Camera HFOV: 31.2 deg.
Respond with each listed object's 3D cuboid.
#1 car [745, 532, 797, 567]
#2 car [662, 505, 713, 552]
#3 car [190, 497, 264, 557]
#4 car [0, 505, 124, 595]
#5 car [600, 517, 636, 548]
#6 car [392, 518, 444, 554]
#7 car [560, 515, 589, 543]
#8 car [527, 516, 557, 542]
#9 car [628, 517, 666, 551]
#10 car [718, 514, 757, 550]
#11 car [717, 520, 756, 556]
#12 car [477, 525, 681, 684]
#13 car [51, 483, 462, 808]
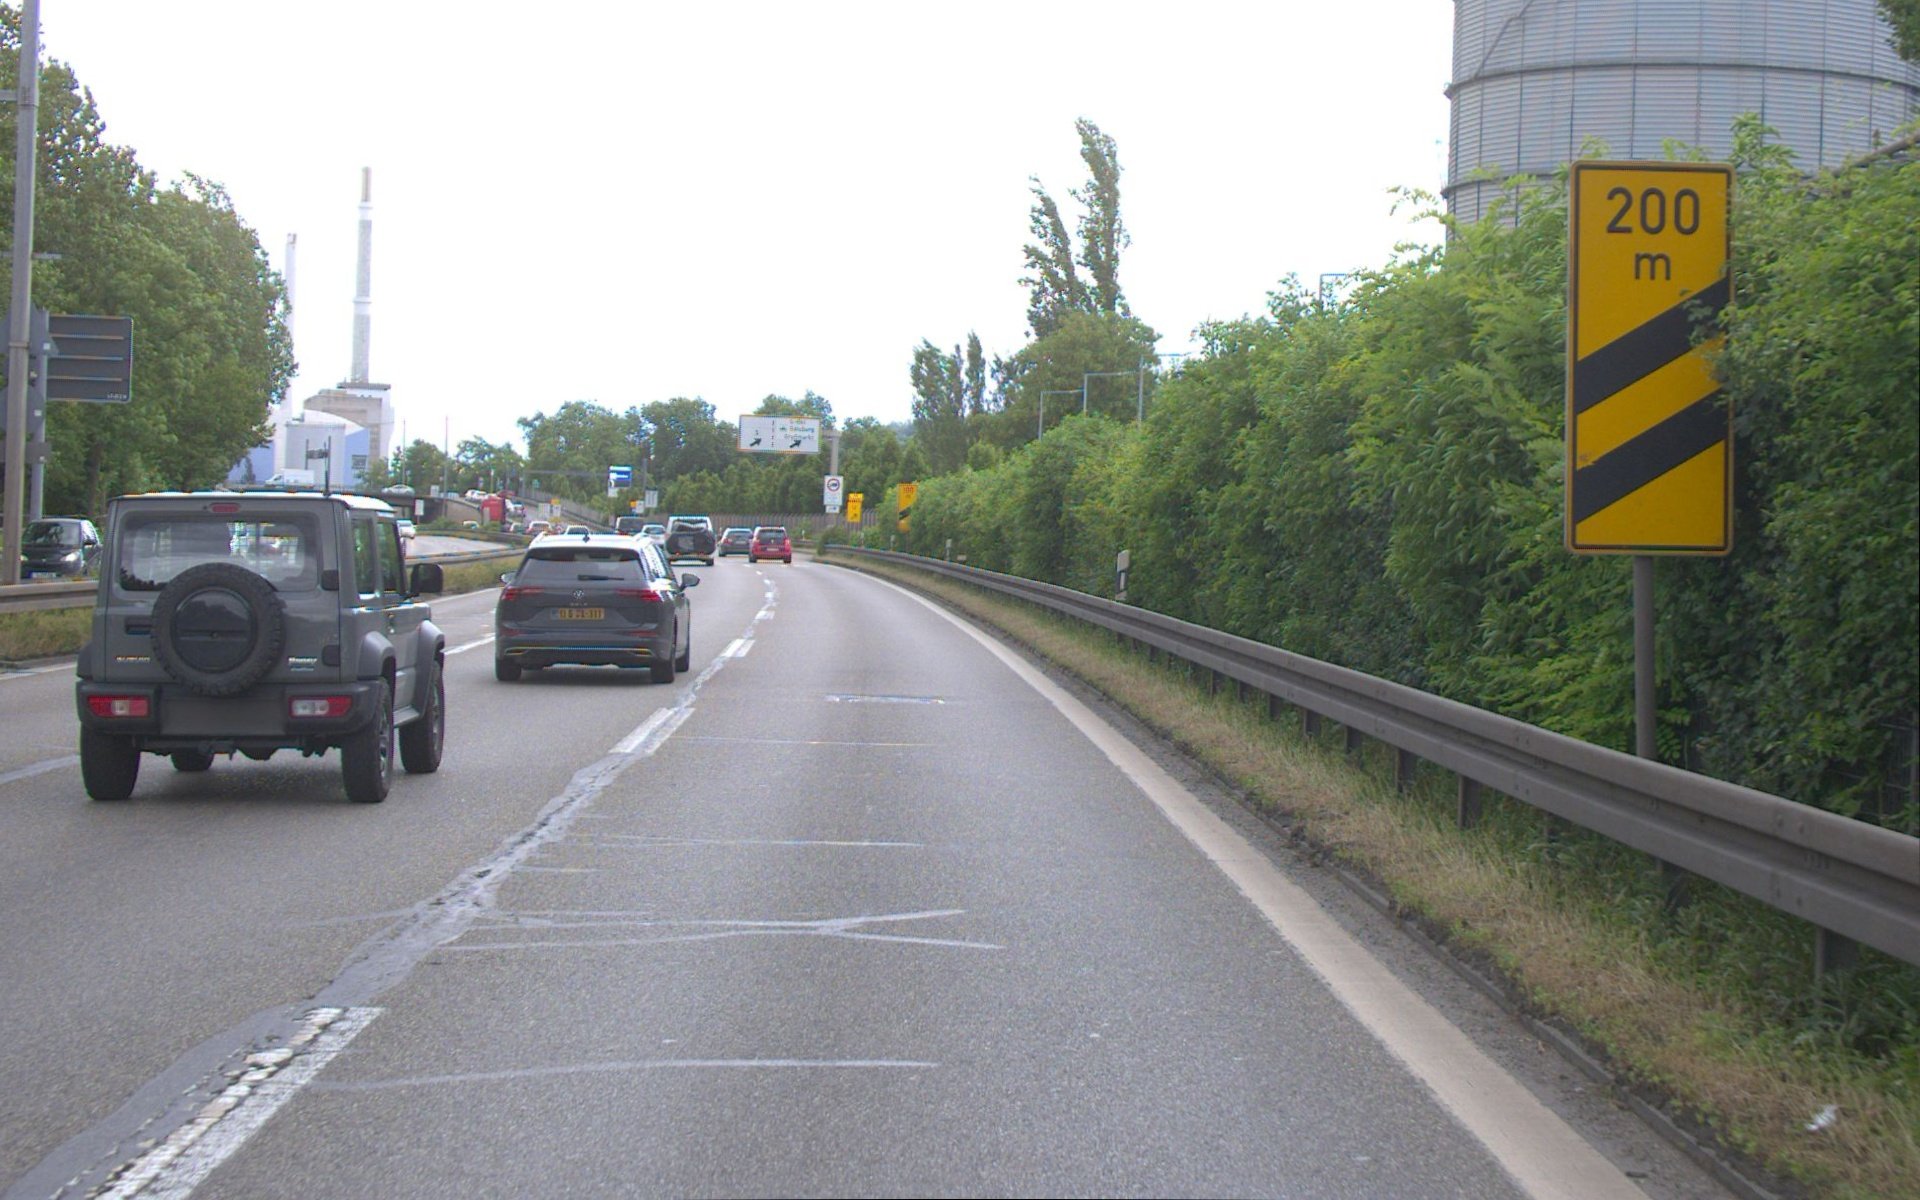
[{"bbox_3d":[-8.006,-2.129,145.136,1.974,1.418,4.901,1,1,-5],"label":"car"},{"bbox_3d":[-10.340,-2.708,130.641,1.697,1.736,4.000,1,1,-1],"label":"car"},{"bbox_3d":[-23.891,-2.369,112.204,1.610,1.877,4.562,1,1,-3],"label":"car"},{"bbox_3d":[-18.571,-1.045,70.983,1.726,1.768,3.742,1,1,-1],"label":"car"},{"bbox_3d":[-21.914,-4.331,220.145,2.013,1.927,4.902,1,1,-9],"label":"car"},{"bbox_3d":[-22.008,-2.589,139.776,1.660,1.419,3.912,1,1,-3],"label":"car"},{"bbox_3d":[-24.166,-4.469,215.517,1.697,1.736,4.394,1,1,-8],"label":"car"},{"bbox_3d":[-31.187,-5.292,256.650,2.013,1.927,4.902,1,1,-9],"label":"car"},{"bbox_3d":[-18.358,-3.866,201.336,2.013,1.927,4.902,1,1,-7],"label":"car"},{"bbox_3d":[-11.078,-3.395,170.952,1.697,1.736,4.394,1,1,-6],"label":"car"},{"bbox_3d":[-11.090,-3.081,170.154,1.697,1.736,4.394,1,1,-7],"label":"car"},{"bbox_3d":[-3.855,-0.010,34.794,1.844,1.418,4.902,2,1,-6],"label":"car"},{"bbox_3d":[-3.940,0.190,19.860,1.697,1.680,4.001,0,1,-2],"label":"car"}]
